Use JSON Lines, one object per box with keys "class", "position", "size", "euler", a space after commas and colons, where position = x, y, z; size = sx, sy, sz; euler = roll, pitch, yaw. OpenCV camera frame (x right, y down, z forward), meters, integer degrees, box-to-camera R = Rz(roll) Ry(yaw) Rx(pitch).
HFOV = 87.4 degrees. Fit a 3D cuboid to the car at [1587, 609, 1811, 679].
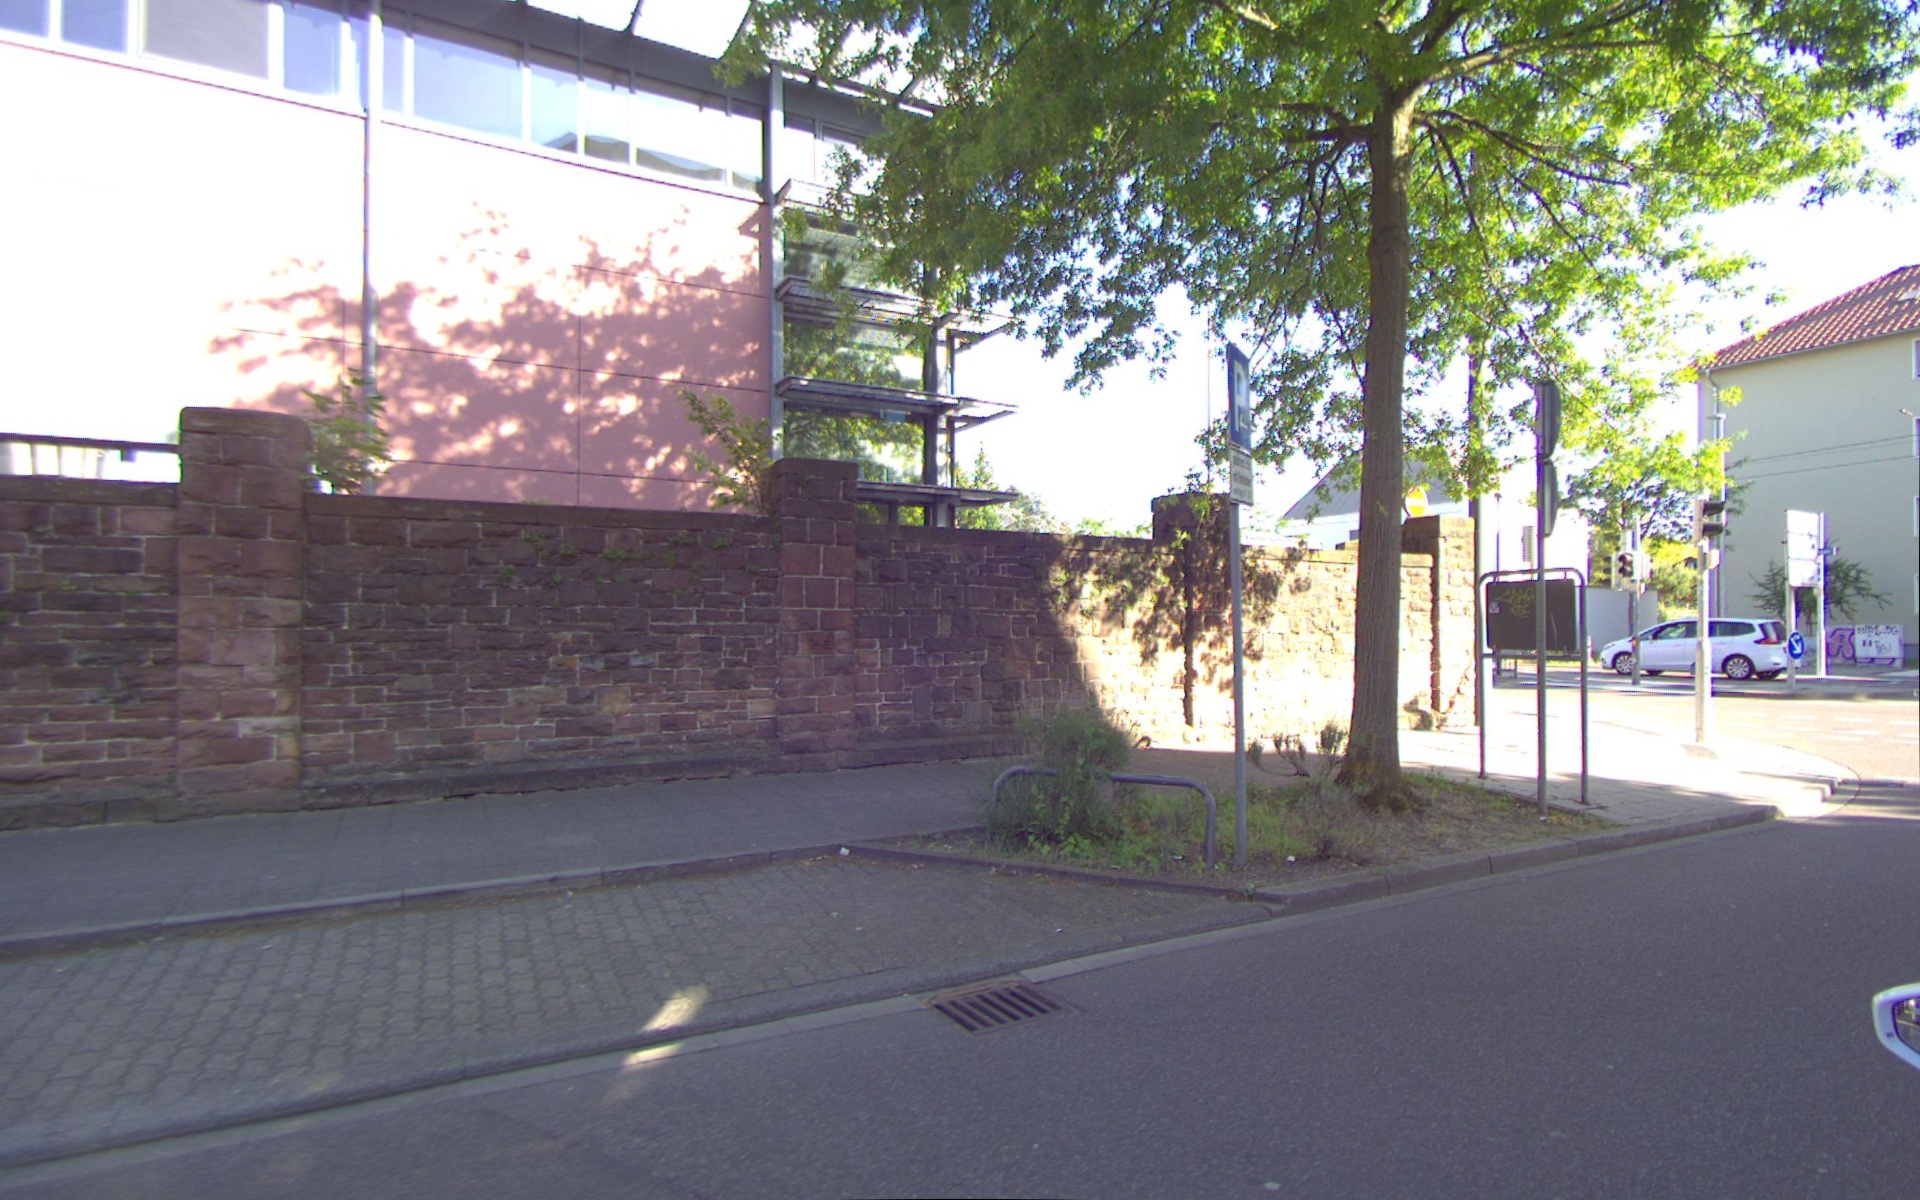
{"class": "car", "position": [20.354, 1.151, 27.881], "size": [1.979, 1.762, 4.634], "euler": [1, -1, -33]}
